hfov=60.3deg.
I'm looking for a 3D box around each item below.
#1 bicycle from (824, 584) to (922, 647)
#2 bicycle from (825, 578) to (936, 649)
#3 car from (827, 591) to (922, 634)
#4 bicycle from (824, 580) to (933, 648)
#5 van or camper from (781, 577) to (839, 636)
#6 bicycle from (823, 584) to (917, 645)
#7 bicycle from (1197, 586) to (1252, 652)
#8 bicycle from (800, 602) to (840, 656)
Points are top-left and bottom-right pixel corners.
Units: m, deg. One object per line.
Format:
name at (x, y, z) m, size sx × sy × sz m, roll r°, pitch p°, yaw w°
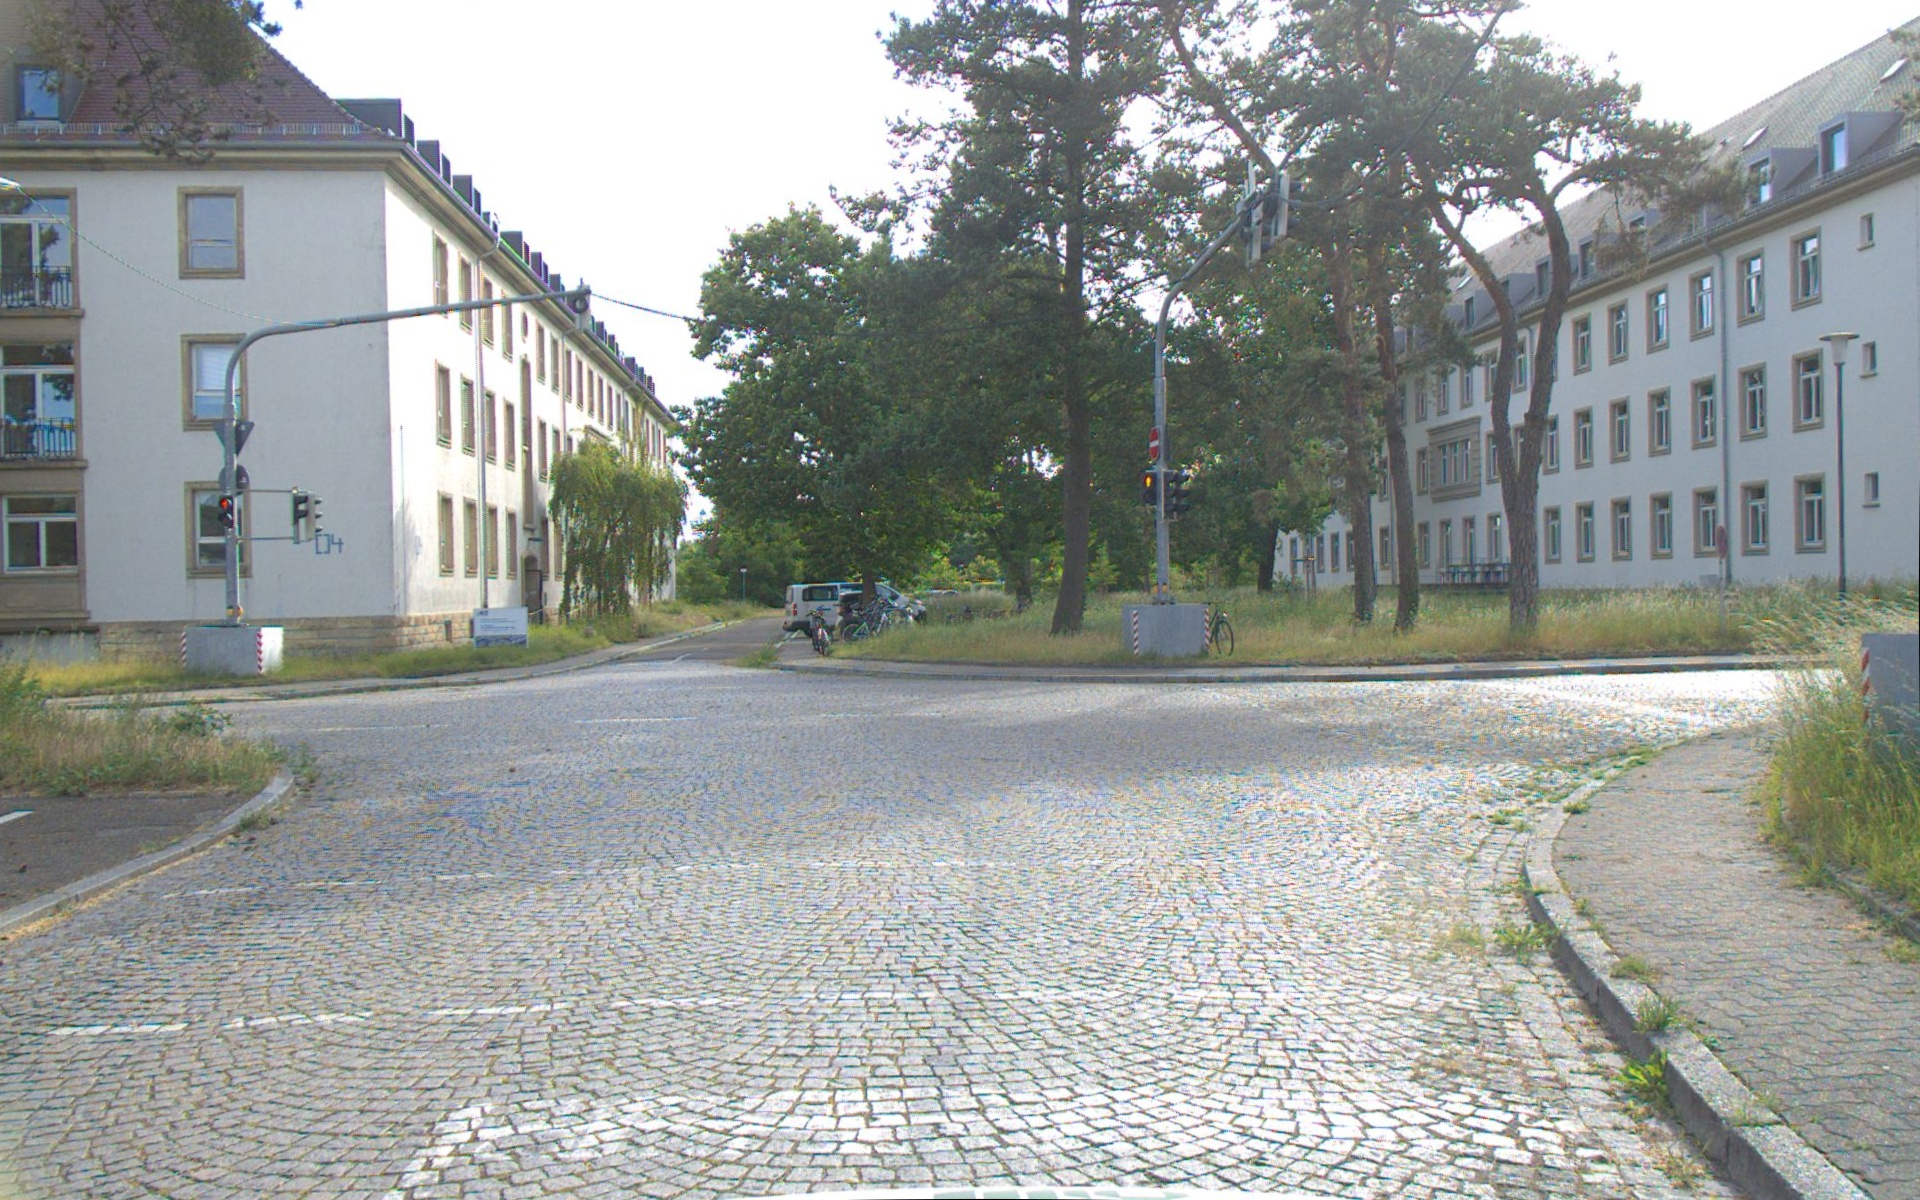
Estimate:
bicycle at (-2.461, 0.445, 47.303) m, size 2.719 × 1.724 × 1.120 m, roll 1°, pitch 0°, yaw 0°
bicycle at (-2.052, 0.335, 42.565) m, size 2.725 × 1.723 × 1.118 m, roll -1°, pitch 0°, yaw -10°
car at (-2.966, 0.418, 56.918) m, size 3.080 × 1.378 × 1.616 m, roll -1°, pitch 0°, yaw -10°
bicycle at (-2.160, 0.358, 43.753) m, size 2.726 × 1.723 × 1.117 m, roll -1°, pitch 0°, yaw -12°
van or camper at (-5.521, 0.207, 60.867) m, size 1.955 × 1.983 × 6.045 m, roll -1°, pitch 0°, yaw -5°
bicycle at (-2.637, 0.427, 48.631) m, size 2.720 × 1.724 × 1.119 m, roll 1°, pitch 0°, yaw -3°
bicycle at (4.980, 0.344, 31.277) m, size 0.709 × 1.189 × 2.738 m, roll 0°, pitch 0°, yaw 2°
bicycle at (-3.213, 0.642, 38.188) m, size 0.711 × 1.126 × 2.461 m, roll -6°, pitch 0°, yaw -3°
